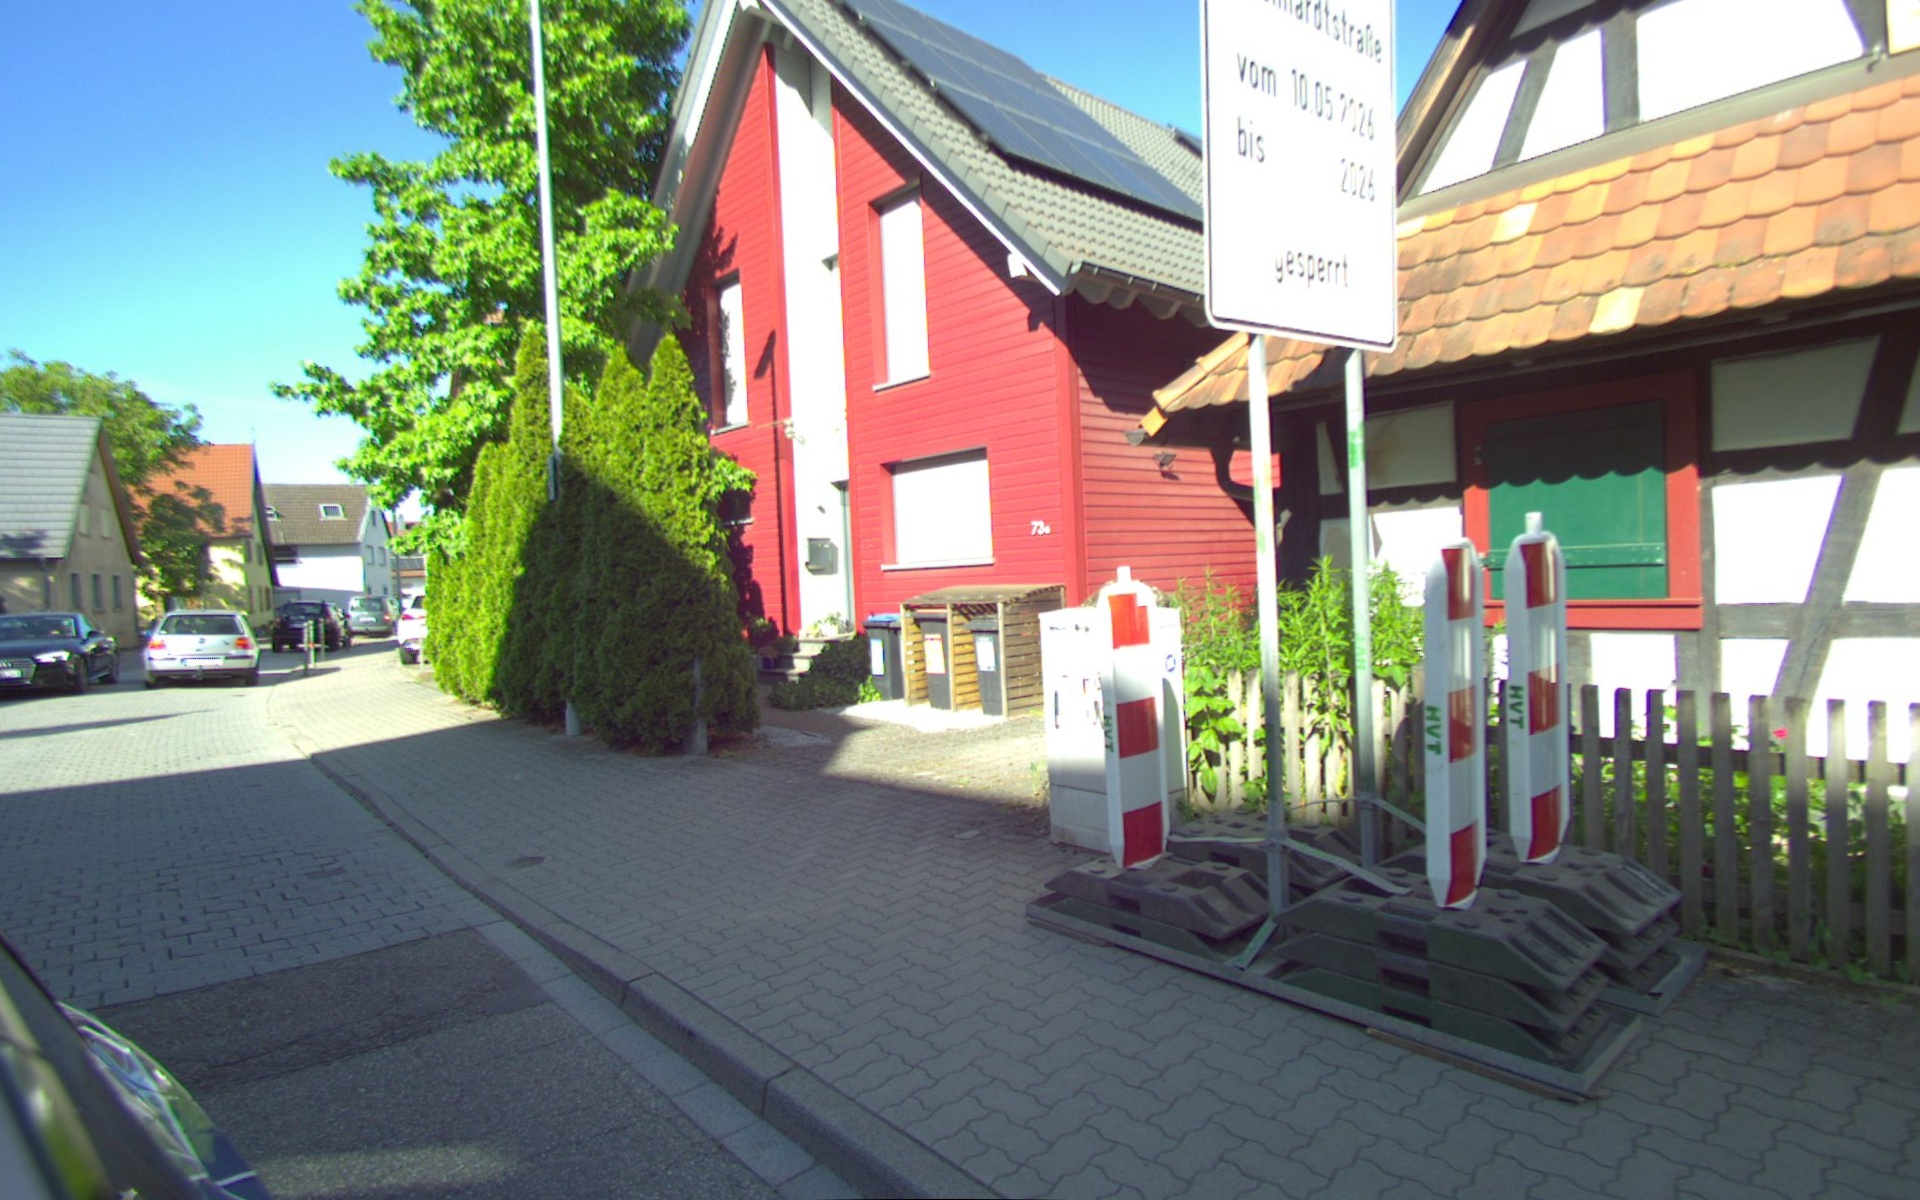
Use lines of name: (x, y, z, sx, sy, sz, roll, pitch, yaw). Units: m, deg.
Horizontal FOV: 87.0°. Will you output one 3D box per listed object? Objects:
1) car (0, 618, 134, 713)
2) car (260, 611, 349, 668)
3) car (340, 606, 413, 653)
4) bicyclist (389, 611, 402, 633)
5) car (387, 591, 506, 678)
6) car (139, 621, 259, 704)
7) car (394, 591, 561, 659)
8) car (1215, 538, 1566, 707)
car: (-16.258, 1.070, 17.825, 1.777, 1.489, 4.357, 1, -2, -28)
car: (-21.388, 1.218, 33.187, 1.806, 1.683, 4.367, -2, 0, -24)
car: (-25.120, 1.245, 43.707, 1.807, 1.803, 4.366, -3, 0, -18)
bicyclist: (-34.603, 1.325, 62.022, 0.573, 1.330, 0.610, -1, 0, -17)
car: (-11.225, 0.677, 22.407, 1.792, 1.607, 4.460, -4, 2, -21)
car: (-14.710, 1.143, 19.722, 1.648, 1.413, 3.902, 2, -1, -34)
car: (-13.969, 0.686, 29.393, 3.937, 1.600, 2.004, -5, 2, -39)
car: (4.903, 0.164, 11.343, 3.935, 1.513, 1.821, -4, 1, -36)
